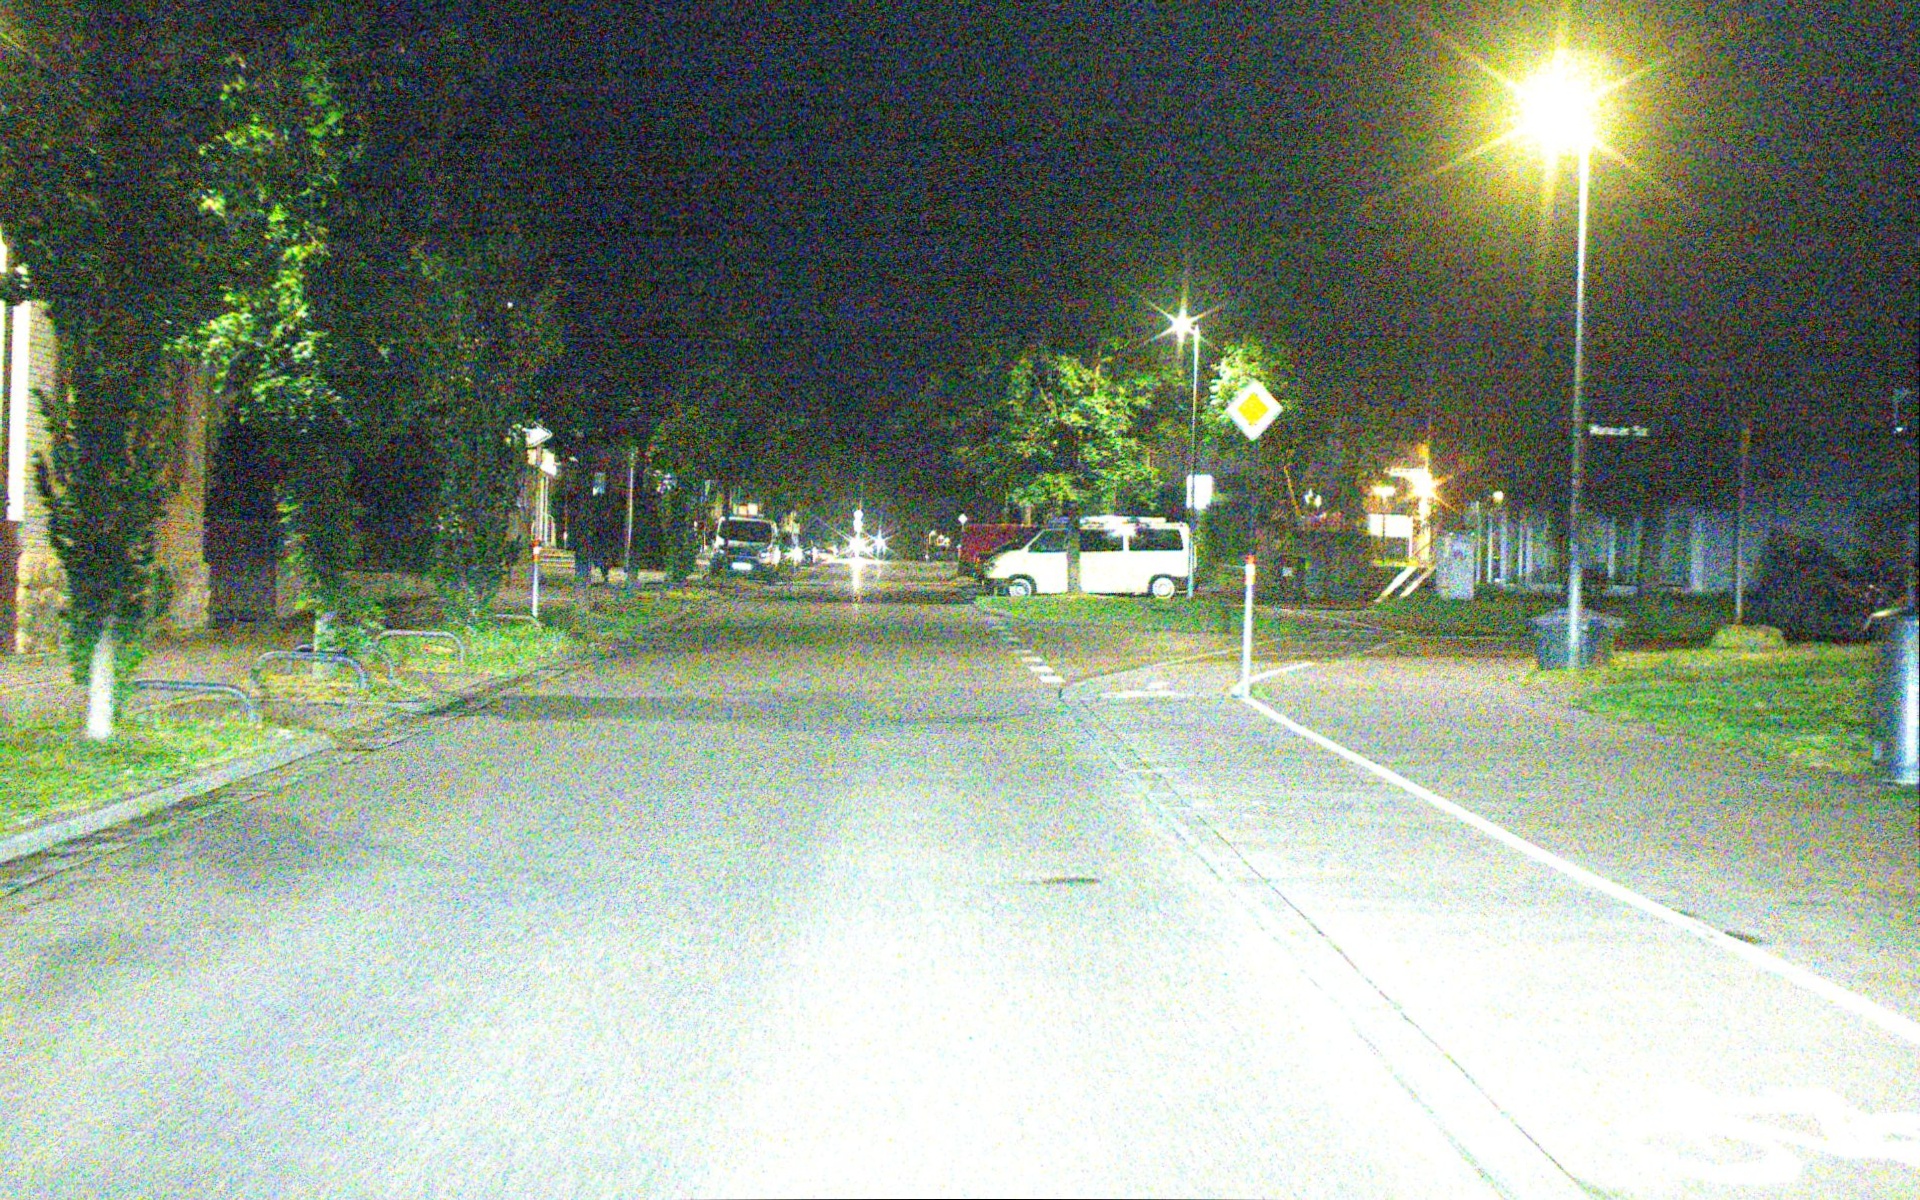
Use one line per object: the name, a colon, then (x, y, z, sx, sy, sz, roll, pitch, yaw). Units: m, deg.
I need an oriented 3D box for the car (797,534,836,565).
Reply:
car: (-6.389, -2.248, 153.334, 1.683, 1.326, 3.600, 1, 1, -2)

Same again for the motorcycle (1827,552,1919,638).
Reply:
motorcycle: (13.683, -0.085, 49.547, 2.258, 1.210, 0.711, -1, 1, -16)

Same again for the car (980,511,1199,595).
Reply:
car: (3.124, -1.155, 83.689, 5.182, 2.007, 2.102, 0, 1, -2)

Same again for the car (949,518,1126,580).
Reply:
car: (2.383, -1.568, 105.281, 5.184, 1.880, 2.101, 0, 1, 9)

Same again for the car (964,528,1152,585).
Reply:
car: (2.743, -1.240, 97.160, 5.182, 1.588, 2.102, 0, 1, -2)

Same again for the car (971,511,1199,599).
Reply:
car: (2.903, -1.064, 80.624, 5.182, 2.007, 2.102, 0, 1, -2)

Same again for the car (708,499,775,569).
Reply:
car: (-6.589, -2.004, 104.210, 1.824, 1.980, 4.466, 3, 1, -2)

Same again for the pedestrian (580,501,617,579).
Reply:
pedestrian: (-9.556, -1.597, 90.956, 0.785, 2.007, 1.204, 3, 1, -1)

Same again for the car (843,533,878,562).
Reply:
car: (-5.664, -2.998, 194.980, 1.927, 1.643, 3.822, 0, 1, -2)

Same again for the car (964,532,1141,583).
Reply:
car: (2.736, -1.271, 102.677, 5.182, 1.464, 2.102, 0, 1, -2)

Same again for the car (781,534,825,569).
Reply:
car: (-6.242, -1.928, 136.797, 1.683, 1.326, 3.600, 1, 1, -2)
